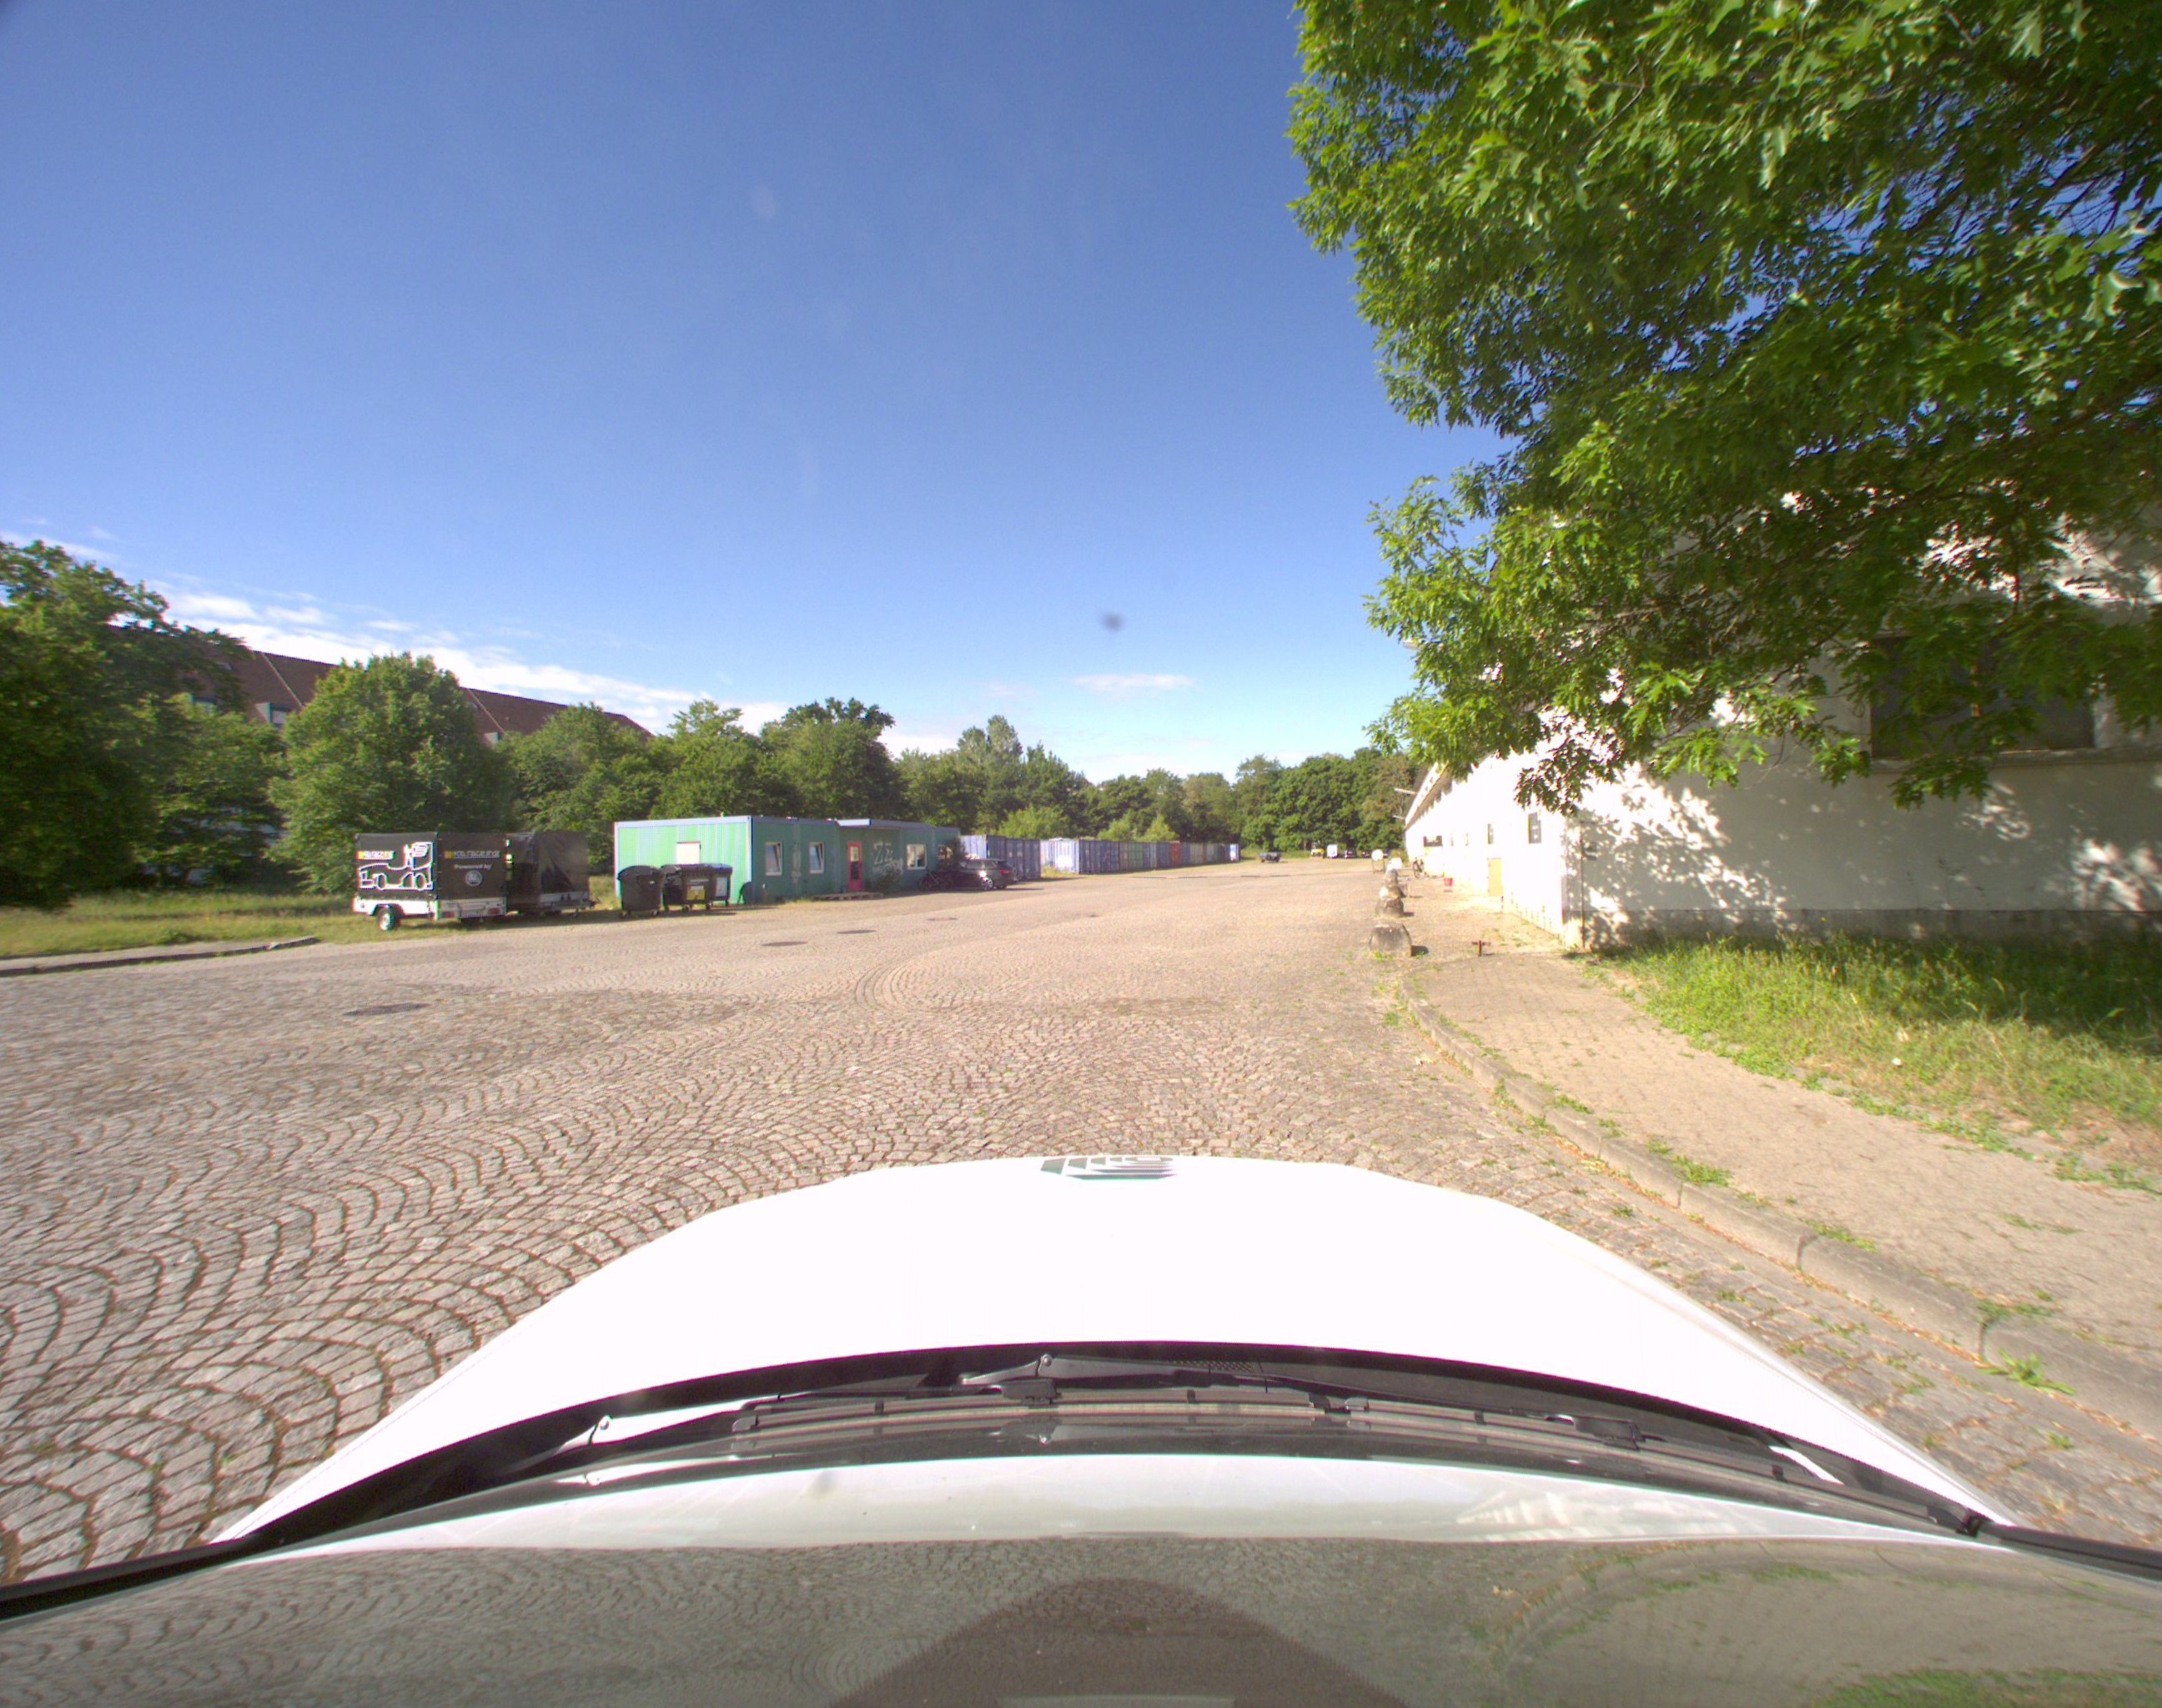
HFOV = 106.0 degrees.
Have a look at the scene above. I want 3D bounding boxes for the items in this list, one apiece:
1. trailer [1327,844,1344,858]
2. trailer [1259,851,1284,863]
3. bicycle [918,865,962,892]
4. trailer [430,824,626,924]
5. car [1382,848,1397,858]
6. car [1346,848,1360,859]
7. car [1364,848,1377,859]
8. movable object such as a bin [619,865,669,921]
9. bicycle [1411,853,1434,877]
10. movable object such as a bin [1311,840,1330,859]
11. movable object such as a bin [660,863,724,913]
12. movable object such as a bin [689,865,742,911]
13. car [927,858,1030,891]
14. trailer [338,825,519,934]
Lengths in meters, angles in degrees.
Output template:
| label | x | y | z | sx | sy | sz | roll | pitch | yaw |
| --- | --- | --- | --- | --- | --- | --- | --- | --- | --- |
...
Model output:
| label | x | y | z | sx | sy | sz | roll | pitch | yaw |
| --- | --- | --- | --- | --- | --- | --- | --- | --- | --- |
| trailer | 40.041 | -0.443 | 127.891 | 2.174 | 2.094 | 5.781 | 0 | 1 | 21 |
| trailer | 26.129 | 0.375 | 111.573 | 2.683 | 1.465 | 6.279 | 0 | 1 | 19 |
| bicycle | -6.239 | 1.064 | 35.927 | 1.789 | 1.170 | 0.671 | -1 | -1 | 18 |
| trailer | -15.160 | 0.537 | 22.388 | 4.600 | 2.568 | 1.960 | -1 | -1 | 16 |
| car | 46.686 | -0.124 | 123.141 | 1.728 | 1.436 | 4.208 | 0 | 2 | 26 |
| car | 41.699 | -0.148 | 124.704 | 1.848 | 1.589 | 4.318 | 0 | 2 | 21 |
| car | 44.141 | -0.111 | 124.173 | 1.848 | 1.470 | 4.318 | 0 | 2 | 21 |
| movable object such as a bin | -12.039 | 1.051 | 22.465 | 1.158 | 1.458 | 1.426 | 0 | -1 | -26 |
| bicycle | 15.246 | 0.482 | 36.343 | 0.658 | 1.068 | 1.835 | -1 | -1 | 33 |
| movable object such as a bin | 38.040 | -0.790 | 129.287 | 2.286 | 2.896 | 5.782 | 0 | 1 | 22 |
| movable object such as a bin | -11.751 | 1.011 | 24.621 | 1.009 | 1.458 | 1.448 | -1 | -1 | 20 |
| movable object such as a bin | -11.852 | 1.082 | 26.458 | 0.876 | 1.458 | 1.444 | -1 | -1 | 10 |
| car | -4.695 | 0.920 | 37.309 | 4.217 | 1.449 | 1.940 | -1 | -1 | 19 |
| trailer | -16.053 | 0.600 | 20.092 | 3.356 | 2.470 | 2.055 | -1 | -1 | 21 |
